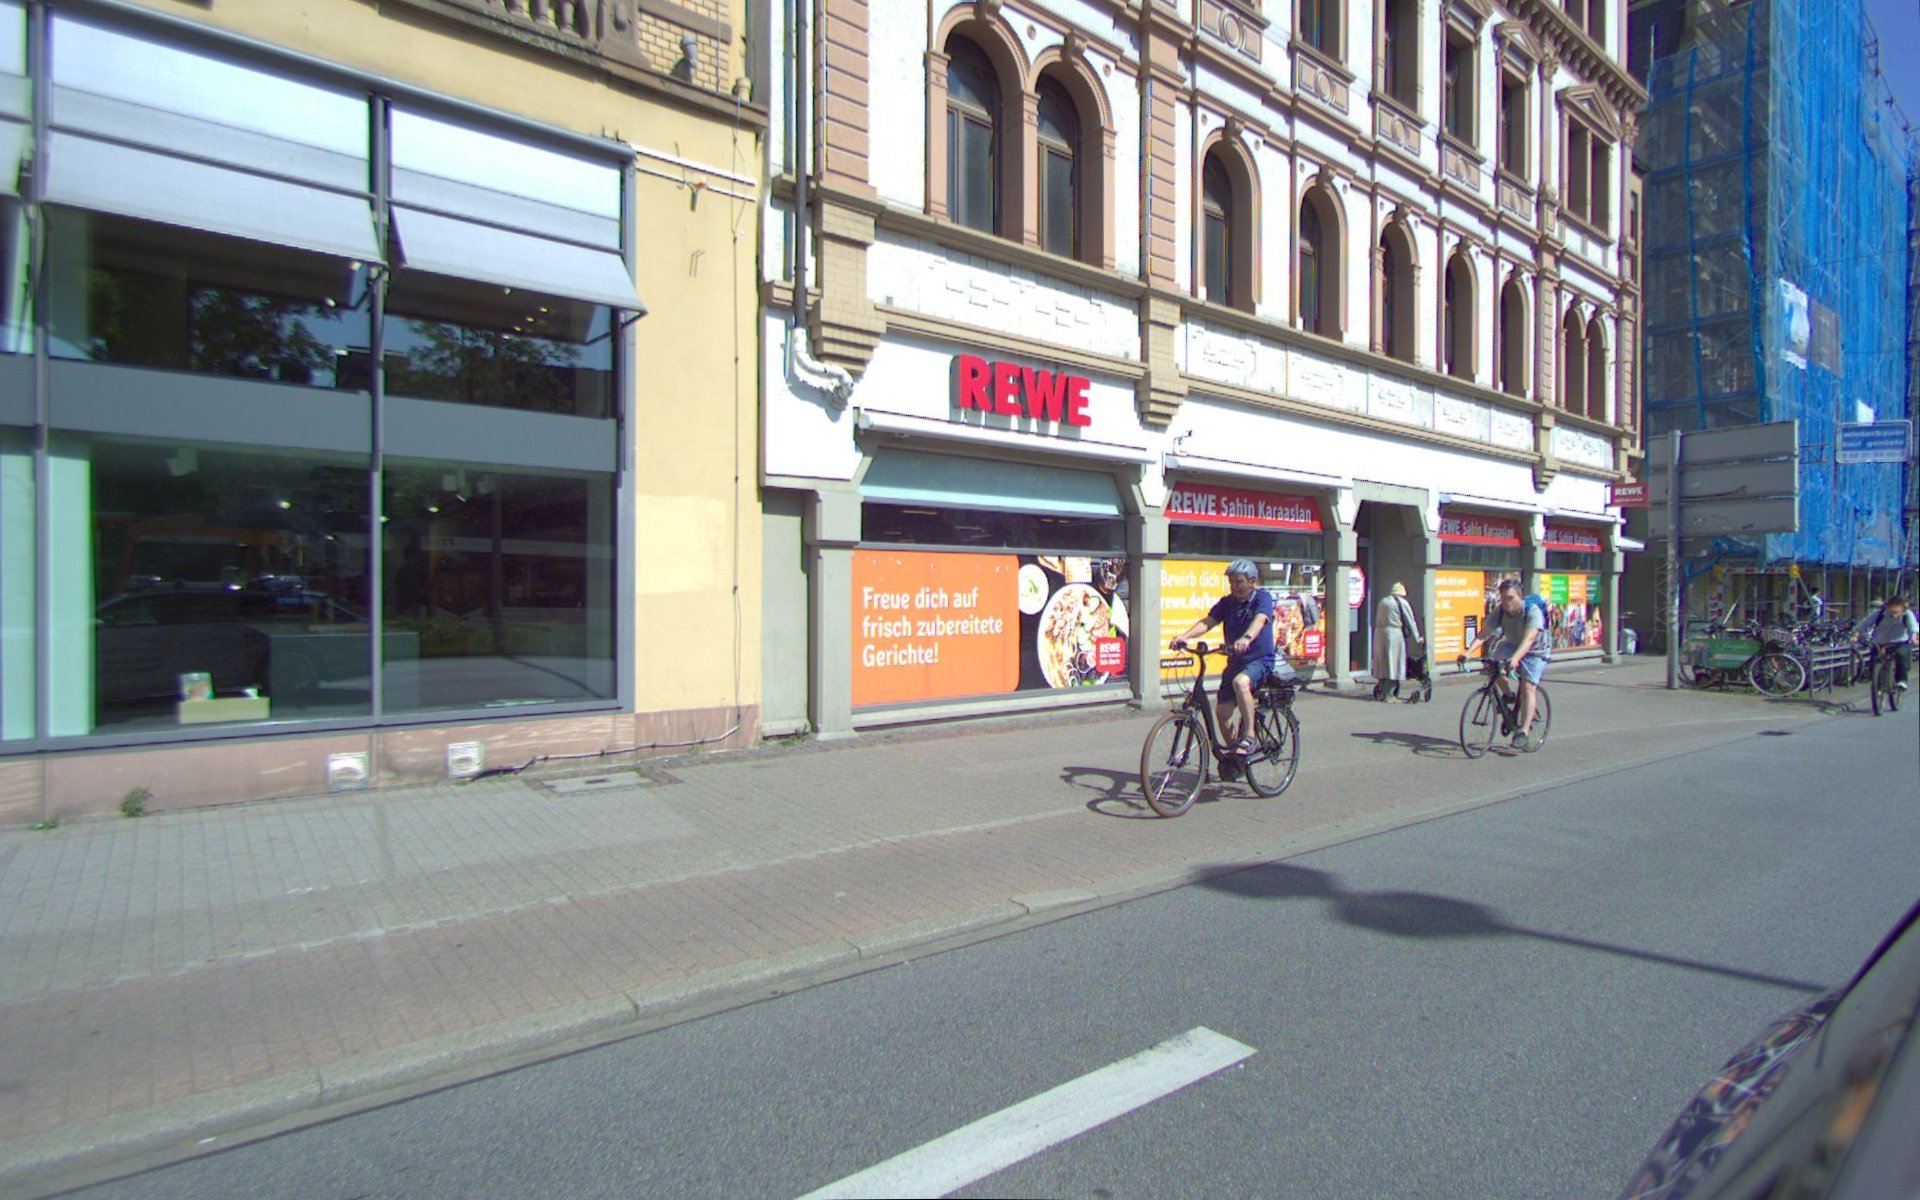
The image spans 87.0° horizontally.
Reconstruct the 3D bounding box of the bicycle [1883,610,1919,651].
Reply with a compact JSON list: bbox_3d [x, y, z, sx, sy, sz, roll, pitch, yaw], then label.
[{"bbox_3d":[27.959,0.879,29.335,0.597,1.193,1.697,-1,0,-38],"label":"bicycle"}]

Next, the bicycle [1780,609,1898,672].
[{"bbox_3d":[17.542,0.785,20.230,0.482,1.193,1.697,-1,0,-38],"label":"bicycle"}]

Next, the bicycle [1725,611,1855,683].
[{"bbox_3d":[14.565,0.798,17.804,0.461,1.193,1.697,0,-1,-38],"label":"bicycle"}]

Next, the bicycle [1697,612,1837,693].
[{"bbox_3d":[13.454,0.839,16.916,0.597,1.193,1.698,1,2,-38],"label":"bicycle"}]

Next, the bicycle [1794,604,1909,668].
[{"bbox_3d":[18.442,0.718,20.965,0.597,1.257,1.697,-1,0,-38],"label":"bicycle"}]

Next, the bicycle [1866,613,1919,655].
[{"bbox_3d":[26.281,0.934,28.013,0.597,1.111,1.697,-1,0,-38],"label":"bicycle"}]

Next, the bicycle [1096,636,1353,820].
[{"bbox_3d":[1.943,0.851,7.331,1.875,1.107,0.736,-1,-1,-35],"label":"bicycle"}]

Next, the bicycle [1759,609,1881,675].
[{"bbox_3d":[16.339,0.777,19.258,0.449,1.193,1.697,0,0,-38],"label":"bicycle"}]

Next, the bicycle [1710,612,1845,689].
[{"bbox_3d":[13.938,0.826,17.301,0.597,1.193,1.698,1,1,-38],"label":"bicycle"}]

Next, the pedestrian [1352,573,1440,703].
[{"bbox_3d":[5.987,0.493,13.905,0.822,1.675,0.757,-1,4,-40],"label":"pedestrian"}]

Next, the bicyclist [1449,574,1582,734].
[{"bbox_3d":[5.487,0.495,9.994,1.121,1.481,0.690,-1,-1,-36],"label":"bicyclist"}]

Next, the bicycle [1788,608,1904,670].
[{"bbox_3d":[17.975,0.776,20.573,0.488,1.193,1.697,-1,0,-38],"label":"bicycle"}]

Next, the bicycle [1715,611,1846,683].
[{"bbox_3d":[14.309,0.801,17.684,0.461,1.193,1.697,0,-1,-38],"label":"bicycle"}]

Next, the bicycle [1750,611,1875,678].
[{"bbox_3d":[15.870,0.806,18.881,0.504,1.193,1.697,-1,0,-38],"label":"bicycle"}]

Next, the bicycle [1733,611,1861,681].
[{"bbox_3d":[14.979,0.800,18.159,0.451,1.193,1.697,0,0,-38],"label":"bicycle"}]

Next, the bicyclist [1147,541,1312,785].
[{"bbox_3d":[1.952,0.423,7.351,0.900,1.637,0.691,-1,-1,-32],"label":"bicyclist"}]

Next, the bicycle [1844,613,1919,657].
[{"bbox_3d":[24.728,0.908,26.898,0.597,1.123,1.743,-1,0,-38],"label":"bicycle"}]

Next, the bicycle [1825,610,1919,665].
[{"bbox_3d":[21.056,0.841,23.254,0.597,1.193,1.697,-1,0,-38],"label":"bicycle"}]

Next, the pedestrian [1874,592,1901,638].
[{"bbox_3d":[32.700,0.526,35.684,0.643,1.622,0.753,-3,-2,45],"label":"pedestrian"}]

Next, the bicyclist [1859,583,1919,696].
[{"bbox_3d":[13.648,0.557,14.685,0.764,1.597,0.750,0,-2,-40],"label":"bicyclist"}]

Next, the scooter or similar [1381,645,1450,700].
[{"bbox_3d":[6.430,1.012,14.303,0.555,0.658,0.693,-1,4,-40],"label":"scooter or similar"}]

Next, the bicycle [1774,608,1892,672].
[{"bbox_3d":[17.138,0.762,19.904,0.443,1.193,1.697,0,0,-38],"label":"bicycle"}]

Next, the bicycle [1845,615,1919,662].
[{"bbox_3d":[22.784,0.930,24.699,0.597,1.101,1.697,-1,0,-38],"label":"bicycle"}]

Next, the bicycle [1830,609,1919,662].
[{"bbox_3d":[21.687,0.827,23.800,0.597,1.193,1.775,-1,0,-38],"label":"bicycle"}]

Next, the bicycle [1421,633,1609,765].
[{"bbox_3d":[5.509,0.917,9.995,2.090,1.107,0.736,-1,-1,-35],"label":"bicycle"}]

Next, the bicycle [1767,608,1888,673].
[{"bbox_3d":[16.748,0.756,19.575,0.455,1.193,1.697,0,0,-38],"label":"bicycle"}]

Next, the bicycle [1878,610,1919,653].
[{"bbox_3d":[27.431,0.890,28.920,0.597,1.193,1.697,-1,0,-38],"label":"bicycle"}]

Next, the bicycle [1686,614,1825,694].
[{"bbox_3d":[12.970,0.845,16.541,0.597,1.193,1.697,1,0,-38],"label":"bicycle"}]

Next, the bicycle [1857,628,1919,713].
[{"bbox_3d":[13.665,0.992,14.662,1.865,1.107,0.735,-1,-1,-41],"label":"bicycle"}]

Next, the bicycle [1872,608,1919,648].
[{"bbox_3d":[26.807,0.780,28.417,0.597,1.111,1.697,-1,-1,-38],"label":"bicycle"}]
